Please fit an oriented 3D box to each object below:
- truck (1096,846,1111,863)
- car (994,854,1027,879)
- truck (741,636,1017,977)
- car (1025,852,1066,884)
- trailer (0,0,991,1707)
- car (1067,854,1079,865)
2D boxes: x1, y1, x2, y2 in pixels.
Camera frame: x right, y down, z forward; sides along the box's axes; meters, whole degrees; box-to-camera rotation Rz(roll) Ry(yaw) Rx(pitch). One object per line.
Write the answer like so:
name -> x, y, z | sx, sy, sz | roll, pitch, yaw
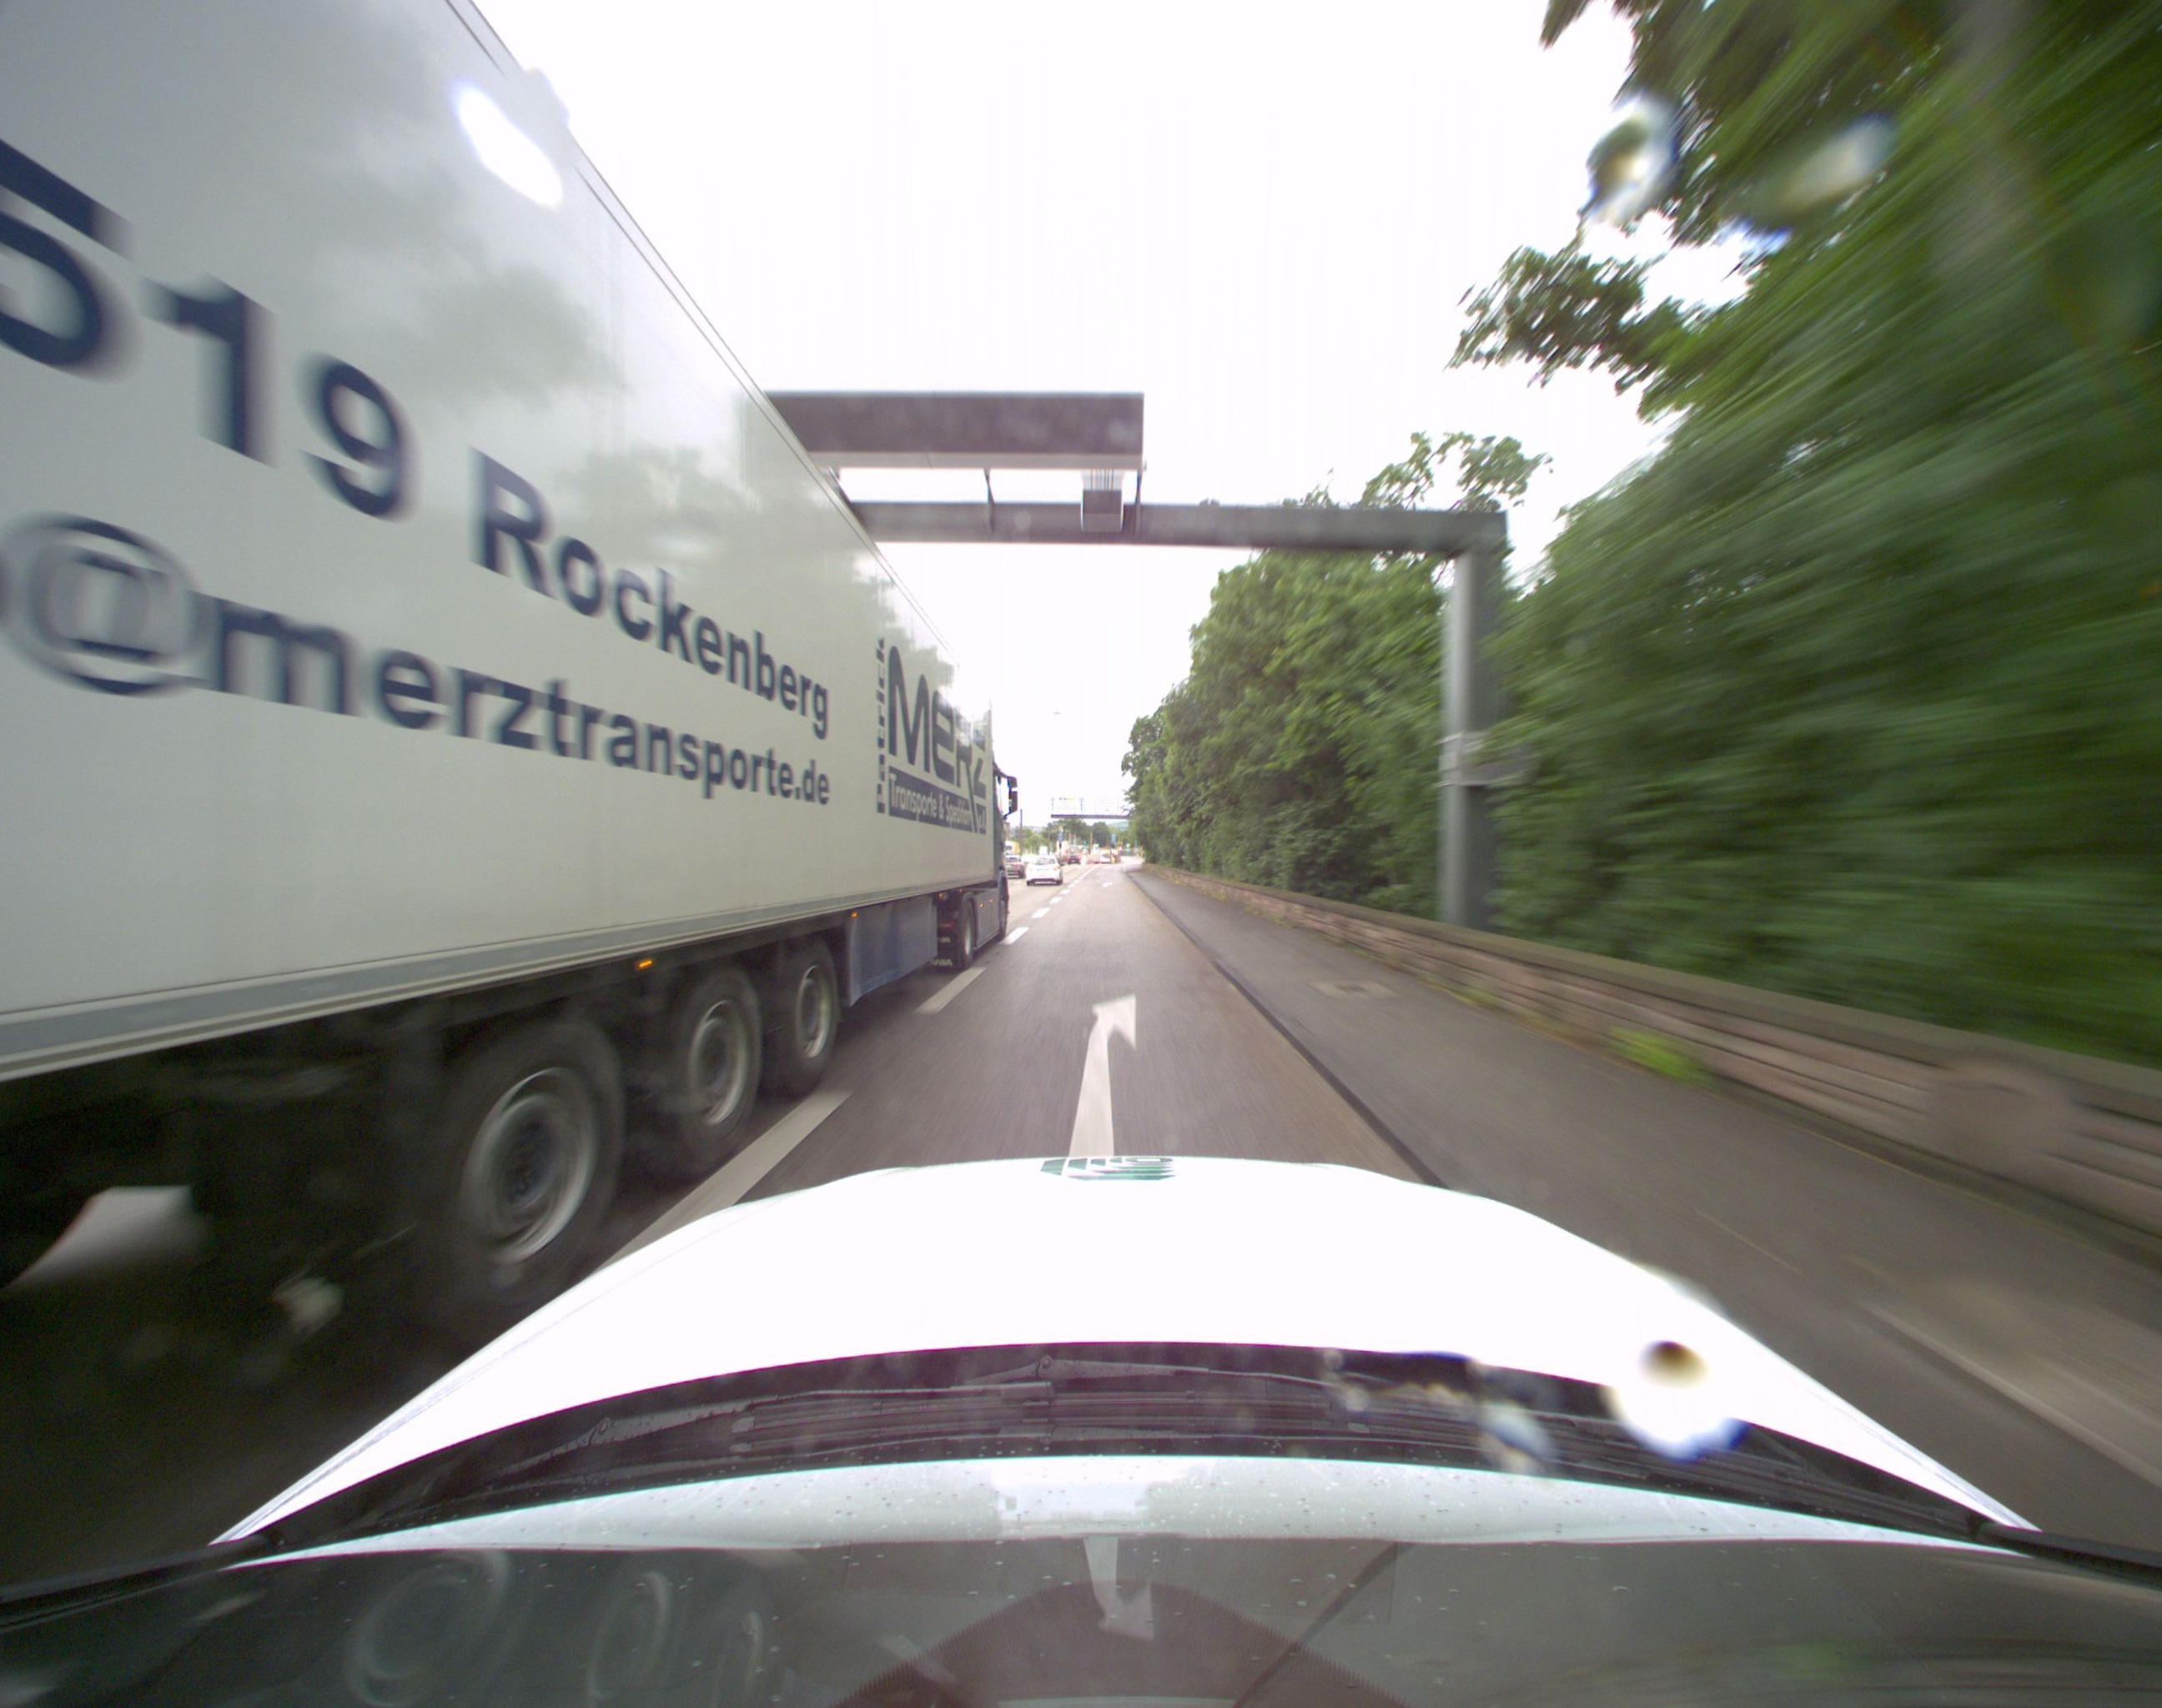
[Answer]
truck -> 5.400, 0.151, 194.602 | 3.505, 4.040, 8.077 | 0, -1, 2
car -> -4.509, 0.758, 52.706 | 1.675, 1.446, 4.002 | 0, 2, 2
truck -> -2.778, -0.601, 13.334 | 2.746, 4.205, 6.307 | -1, 0, 1
car -> -1.768, 0.681, 41.581 | 1.803, 1.423, 4.002 | 0, 2, 2
trailer -> -2.930, -0.575, 5.984 | 2.752, 4.252, 13.185 | -1, 0, 1
car -> -1.187, 0.839, 120.218 | 1.684, 1.508, 3.769 | 0, -1, 2
